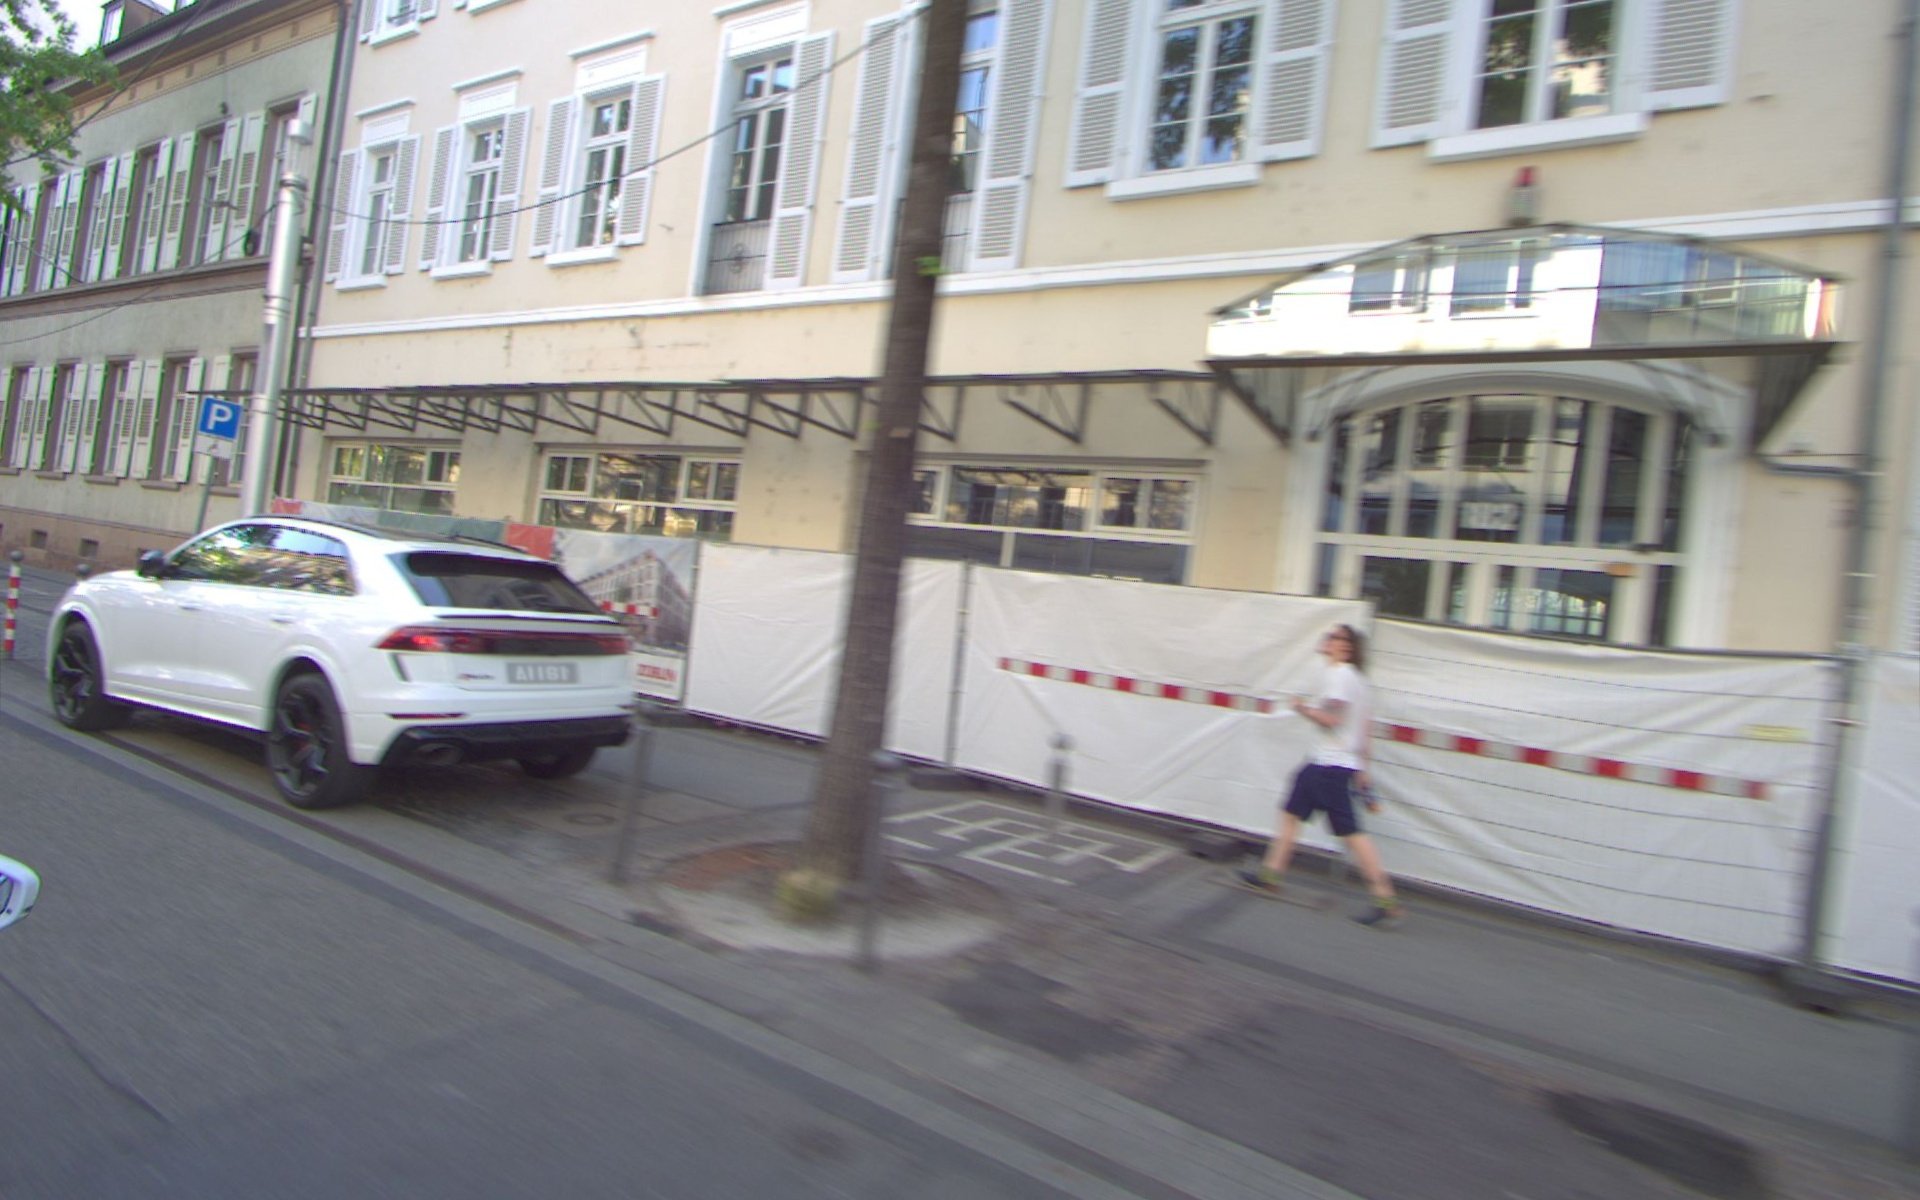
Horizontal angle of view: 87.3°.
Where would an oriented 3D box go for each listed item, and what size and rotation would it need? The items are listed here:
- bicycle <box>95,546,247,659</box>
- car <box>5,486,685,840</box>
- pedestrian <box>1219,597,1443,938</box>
[{"bbox_3d":[-9.334,0.022,11.882,1.952,1.114,0.419,6,1,22],"label":"bicycle"},{"bbox_3d":[-4.629,0.262,7.406,4.882,1.709,2.001,6,0,28],"label":"car"},{"bbox_3d":[2.385,1.009,6.467,1.035,1.910,0.714,7,1,31],"label":"pedestrian"}]
